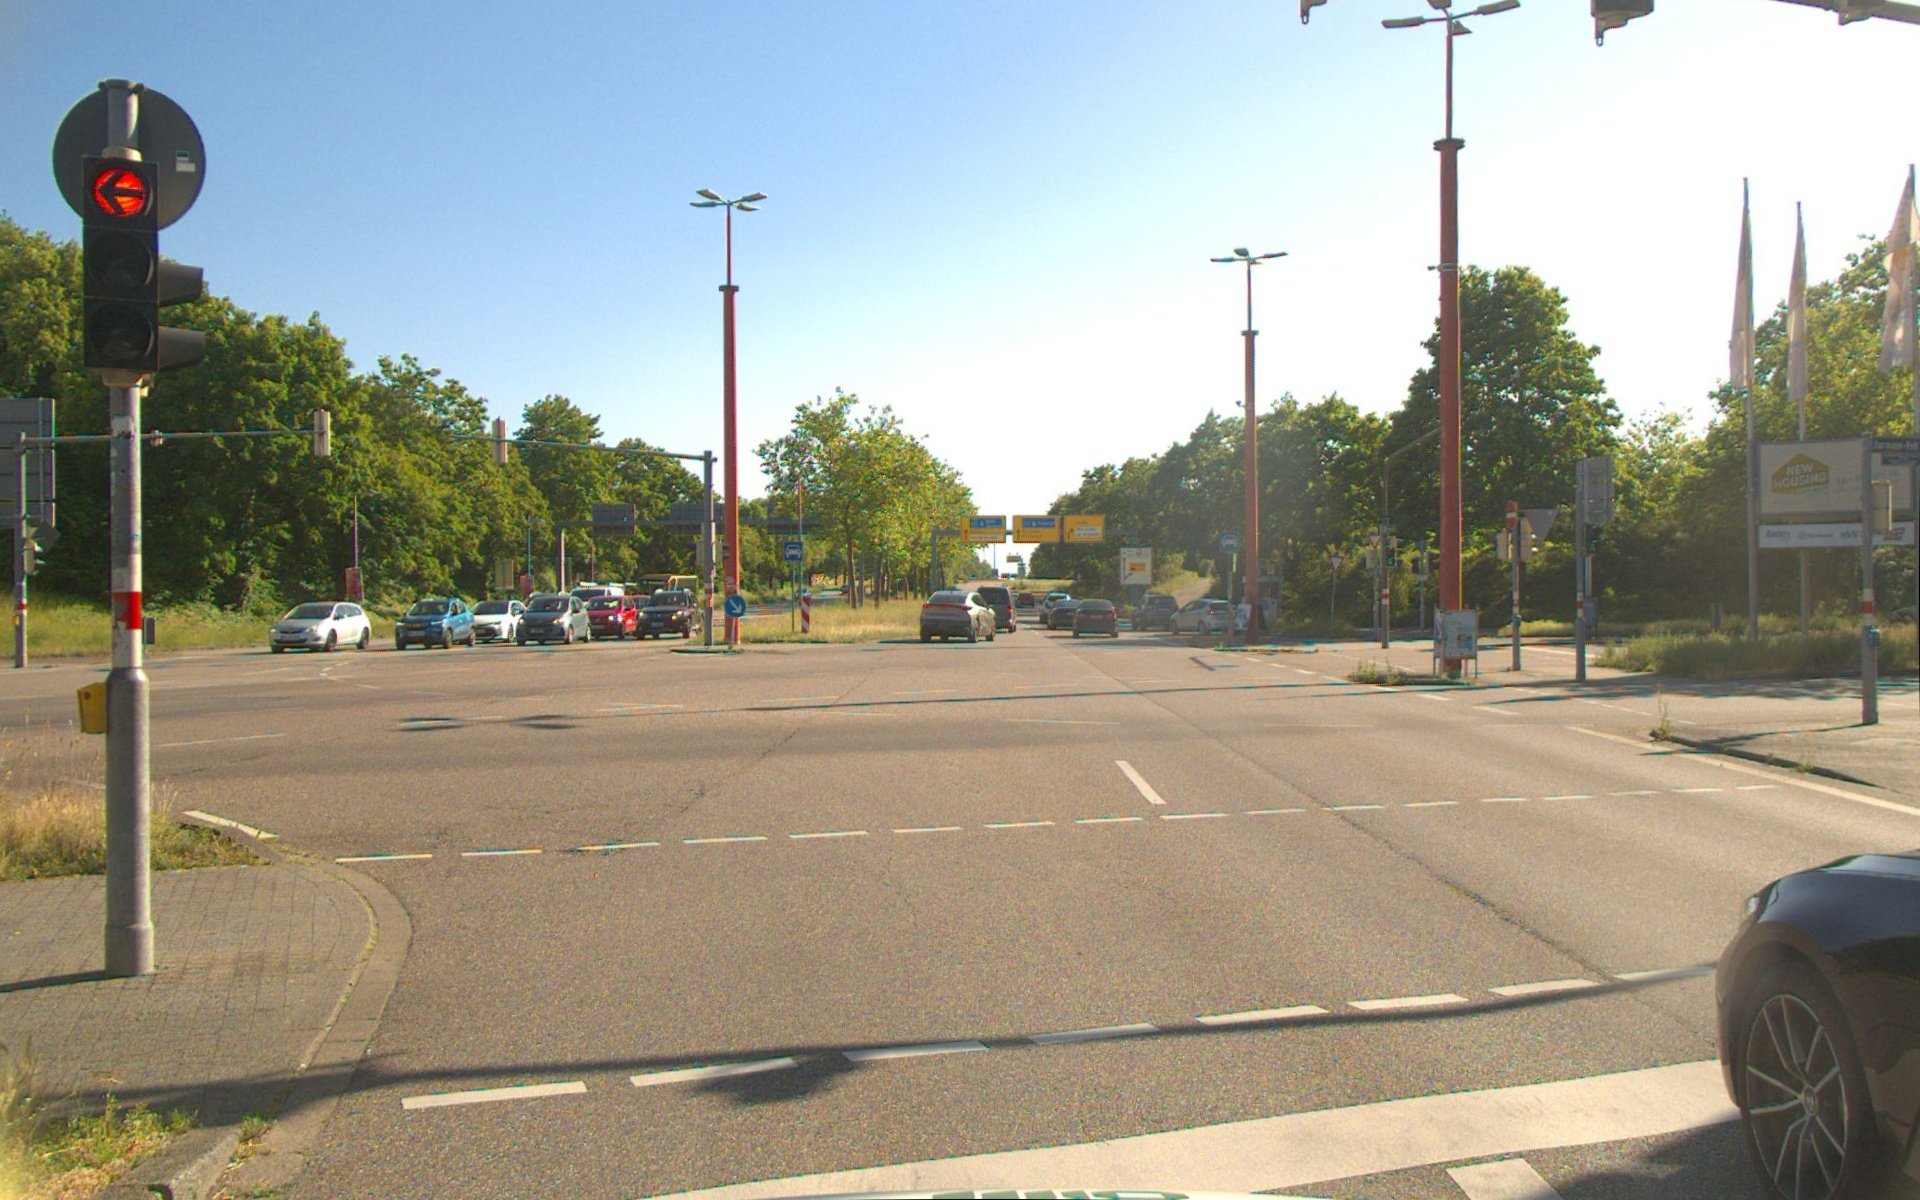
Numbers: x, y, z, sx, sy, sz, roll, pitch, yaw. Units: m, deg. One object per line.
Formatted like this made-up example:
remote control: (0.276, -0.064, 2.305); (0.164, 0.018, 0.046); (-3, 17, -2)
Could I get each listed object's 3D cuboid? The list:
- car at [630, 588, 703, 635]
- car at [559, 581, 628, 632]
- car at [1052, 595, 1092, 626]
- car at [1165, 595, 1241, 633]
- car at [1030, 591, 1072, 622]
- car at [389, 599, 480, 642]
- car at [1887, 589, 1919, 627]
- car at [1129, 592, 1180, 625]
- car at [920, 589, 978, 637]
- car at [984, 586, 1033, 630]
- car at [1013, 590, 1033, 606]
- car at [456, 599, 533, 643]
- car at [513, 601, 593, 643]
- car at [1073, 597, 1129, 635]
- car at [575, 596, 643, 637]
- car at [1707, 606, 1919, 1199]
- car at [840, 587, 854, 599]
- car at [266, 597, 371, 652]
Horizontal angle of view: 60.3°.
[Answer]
car: (-9.866, 0.369, 55.794); (1.782, 1.534, 3.999); (0, 0, -1)
car: (-15.636, 0.300, 70.842); (1.855, 2.061, 5.221); (1, -1, -2)
car: (5.148, 0.464, 76.229); (1.723, 1.373, 4.364); (0, 0, 2)
car: (9.838, 0.550, 67.201); (1.650, 1.493, 3.979); (0, 0, -14)
car: (5.026, 0.322, 91.811); (1.787, 1.665, 4.248); (0, 0, -5)
car: (-16.052, 0.609, 50.675); (1.704, 1.265, 3.611); (0, 0, -2)
car: (32.794, 0.245, 54.921); (3.383, 1.228, 1.614); (0, 0, -16)
car: (9.096, 0.391, 77.662); (1.743, 1.511, 4.328); (0, 0, -2)
car: (-0.372, 0.392, 53.323); (1.793, 1.447, 4.436); (0, 0, -1)
car: (1.951, 0.302, 67.534); (1.808, 1.738, 4.306); (0, 0, -1)
car: (6.070, -0.182, 159.911); (1.646, 1.460, 4.063); (0, 0, -2)
car: (-15.929, 0.698, 56.792); (1.704, 1.436, 3.611); (0, 0, -2)
car: (-12.671, 0.667, 51.697); (1.704, 1.265, 3.611); (0, 0, -2)
car: (5.323, 0.583, 62.226); (1.722, 1.373, 4.367); (0, 0, 10)
car: (-12.278, 0.550, 58.085); (1.704, 1.386, 3.611); (0, 0, -2)
car: (2.944, 0.734, 2.361); (1.831, 1.422, 4.444); (0, 0, 1)
car: (-16.629, -1.018, 242.758); (1.804, 1.696, 3.999); (1, 0, -1)
car: (-19.368, 0.710, 50.120); (1.725, 1.559, 3.934); (0, 0, -2)
